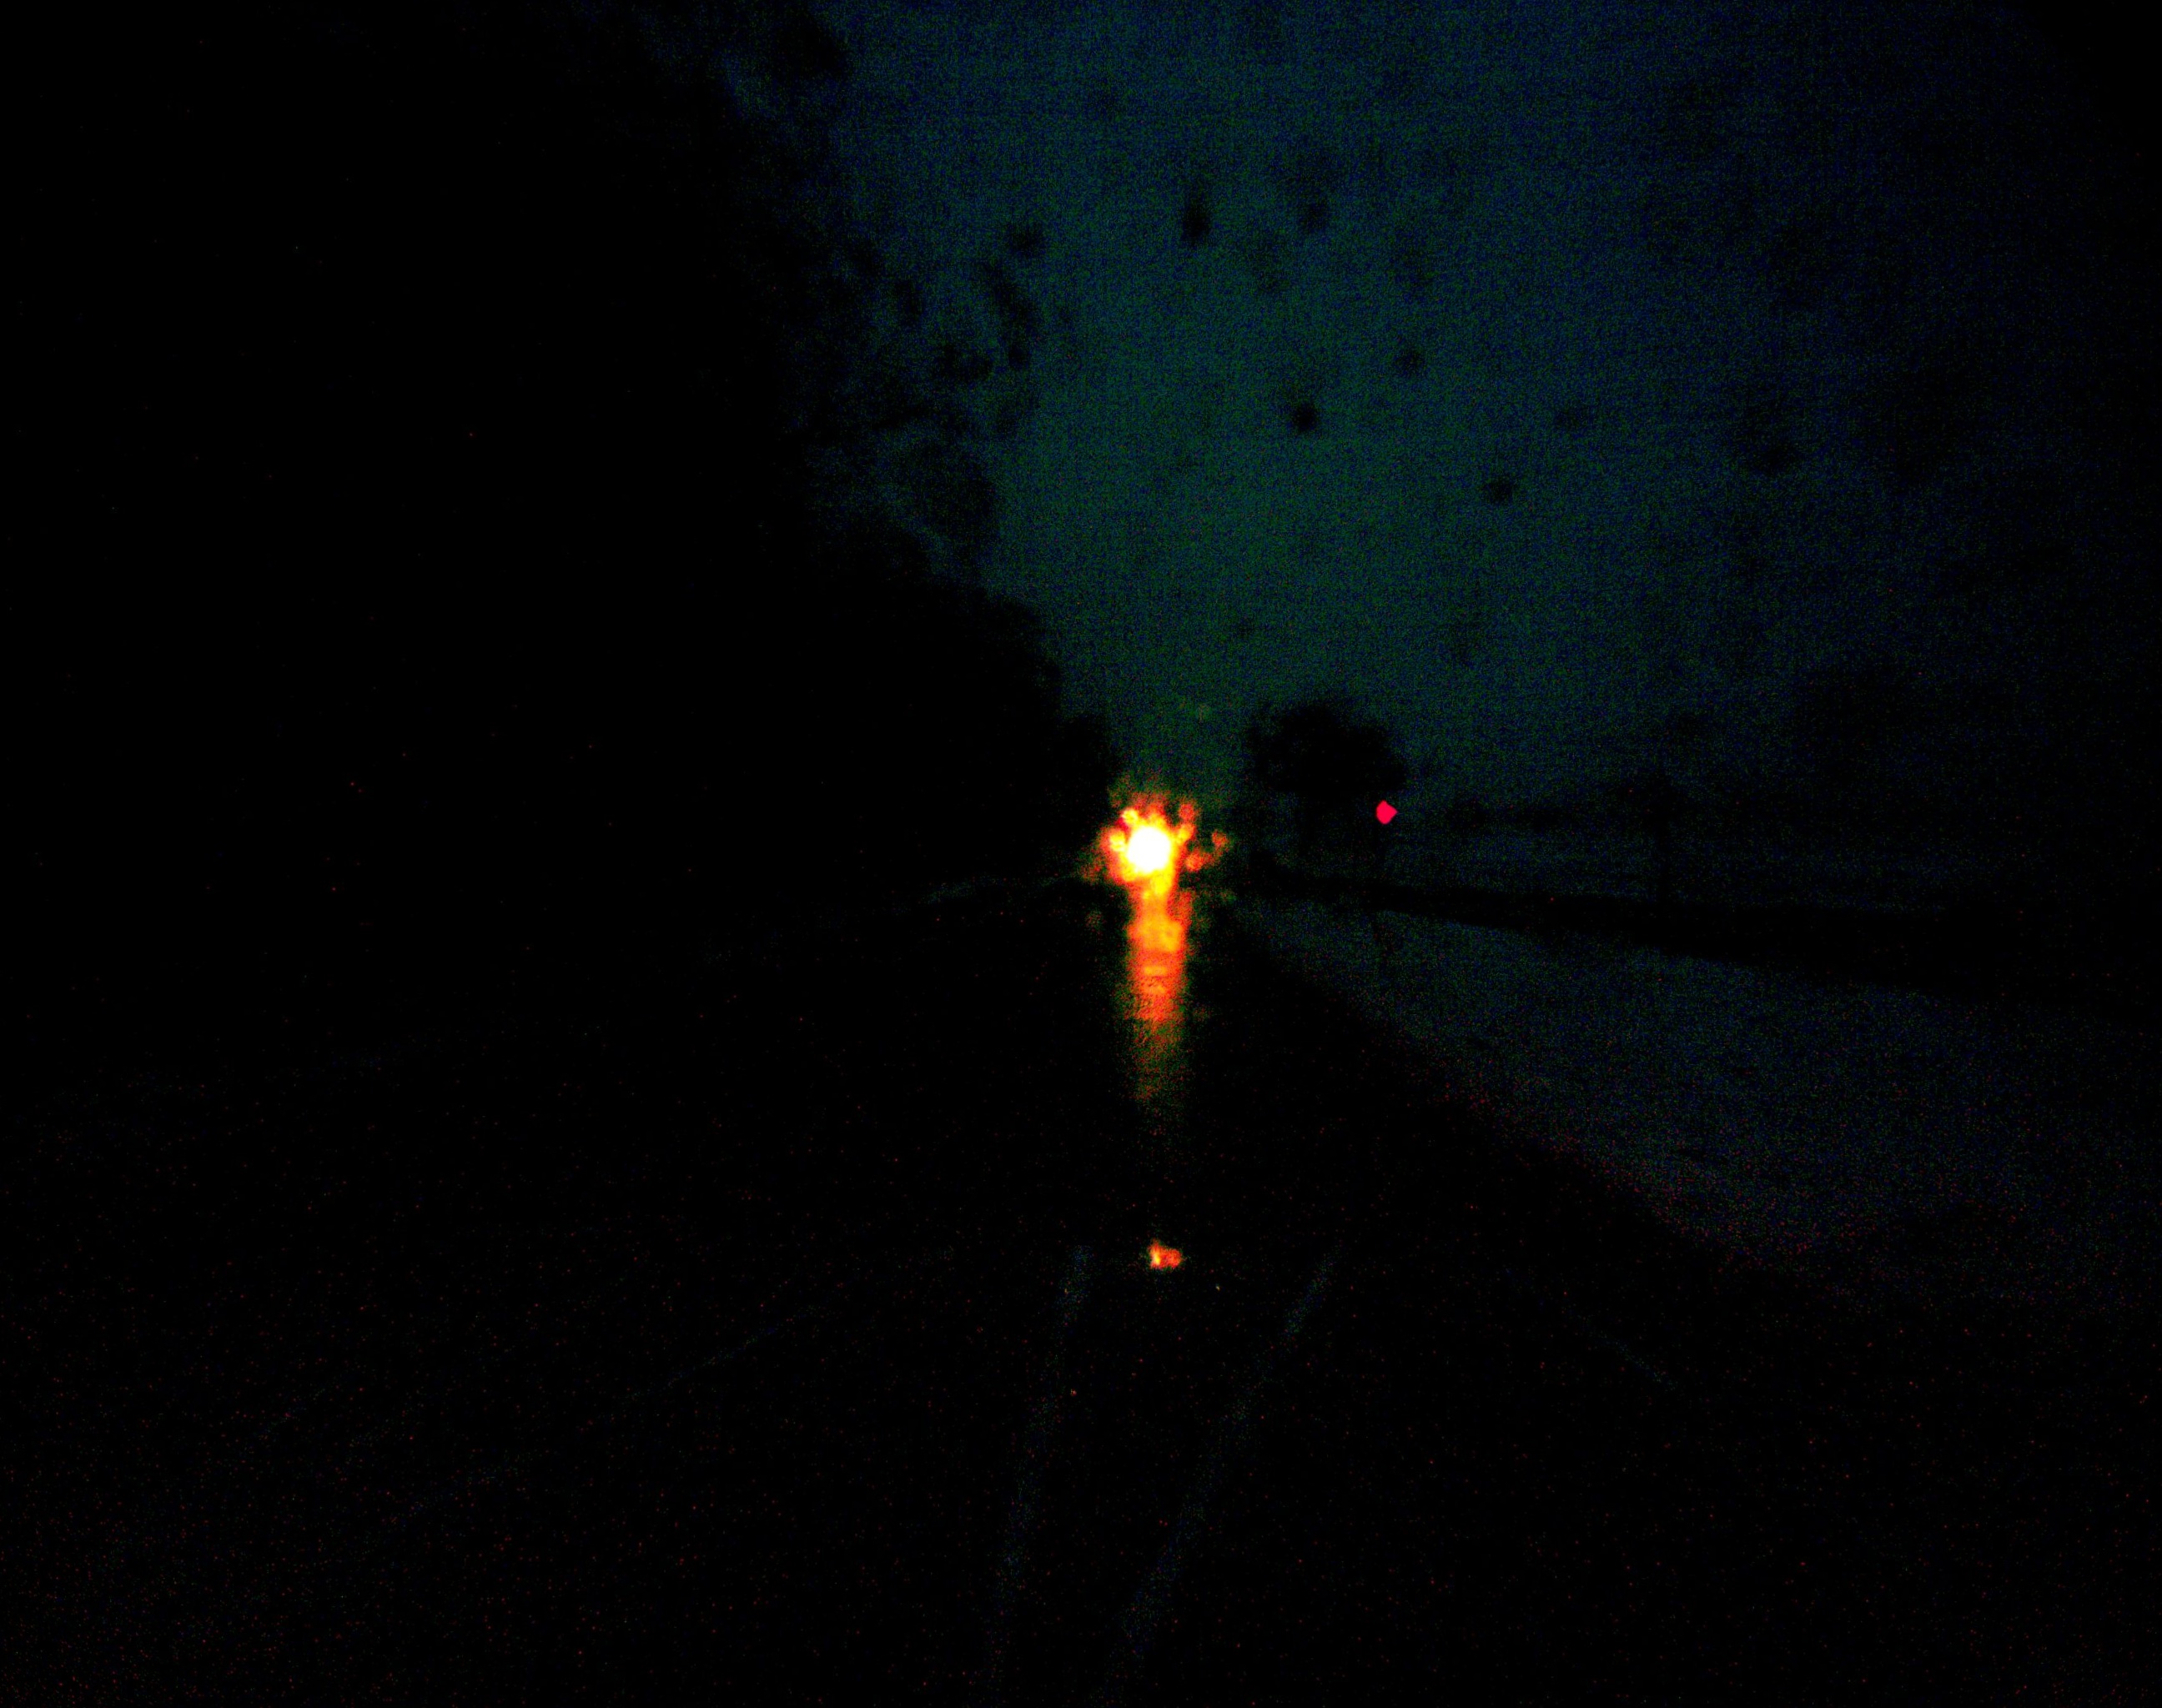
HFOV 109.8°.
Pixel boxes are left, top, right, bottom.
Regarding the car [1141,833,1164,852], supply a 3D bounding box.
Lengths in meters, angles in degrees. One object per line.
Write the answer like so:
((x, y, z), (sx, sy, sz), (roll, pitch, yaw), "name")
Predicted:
((5.828, -0.947, 62.345), (1.725, 1.426, 3.677), (-2, 1, 3), "car")

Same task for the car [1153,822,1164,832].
((14.593, -5.150, 142.971), (1.998, 1.797, 4.000), (-2, 2, 5), "car")

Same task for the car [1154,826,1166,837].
((13.775, -3.927, 132.835), (1.998, 1.797, 4.000), (-2, 2, 5), "car")
